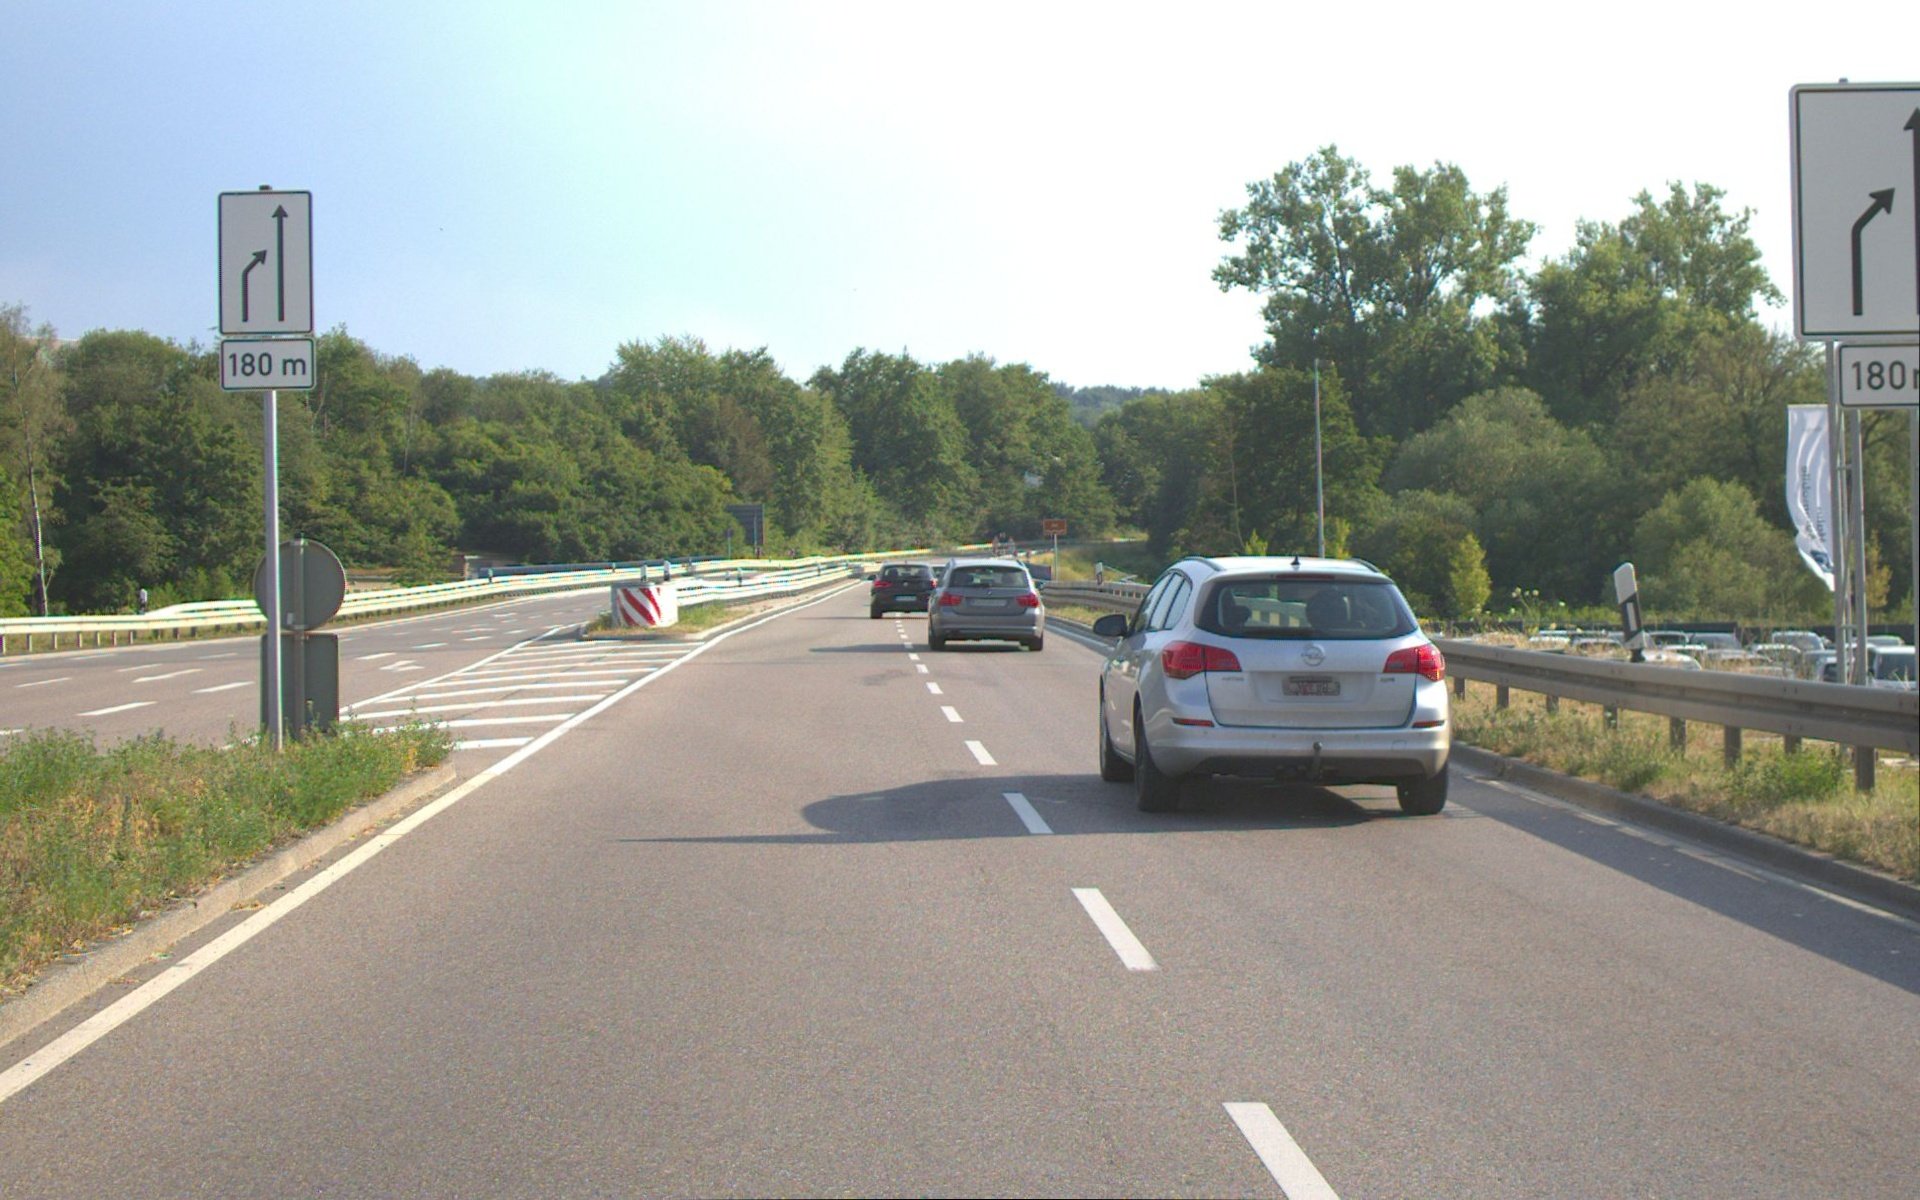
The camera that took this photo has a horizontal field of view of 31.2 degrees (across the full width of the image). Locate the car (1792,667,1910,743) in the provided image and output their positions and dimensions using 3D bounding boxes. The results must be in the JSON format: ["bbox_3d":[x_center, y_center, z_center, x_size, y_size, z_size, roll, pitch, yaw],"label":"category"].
[{"bbox_3d":[20.858,2.432,80.658,1.880,1.630,4.728,1,0,5],"label":"car"}]

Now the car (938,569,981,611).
[{"bbox_3d":[-0.028,-0.352,122.451,1.492,1.471,3.359,1,0,0],"label":"car"}]

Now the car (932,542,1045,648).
[{"bbox_3d":[0.431,-0.067,53.897,1.667,1.568,4.000,1,0,0],"label":"car"}]

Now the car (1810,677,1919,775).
[{"bbox_3d":[19.575,2.692,74.442,1.880,1.924,4.727,1,0,9],"label":"car"}]

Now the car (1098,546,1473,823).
[{"bbox_3d":[1.853,0.466,20.724,1.809,1.481,4.000,1,0,-1],"label":"car"}]

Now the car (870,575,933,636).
[{"bbox_3d":[-1.449,0.149,86.150,1.492,1.471,3.359,1,0,0],"label":"car"}]
